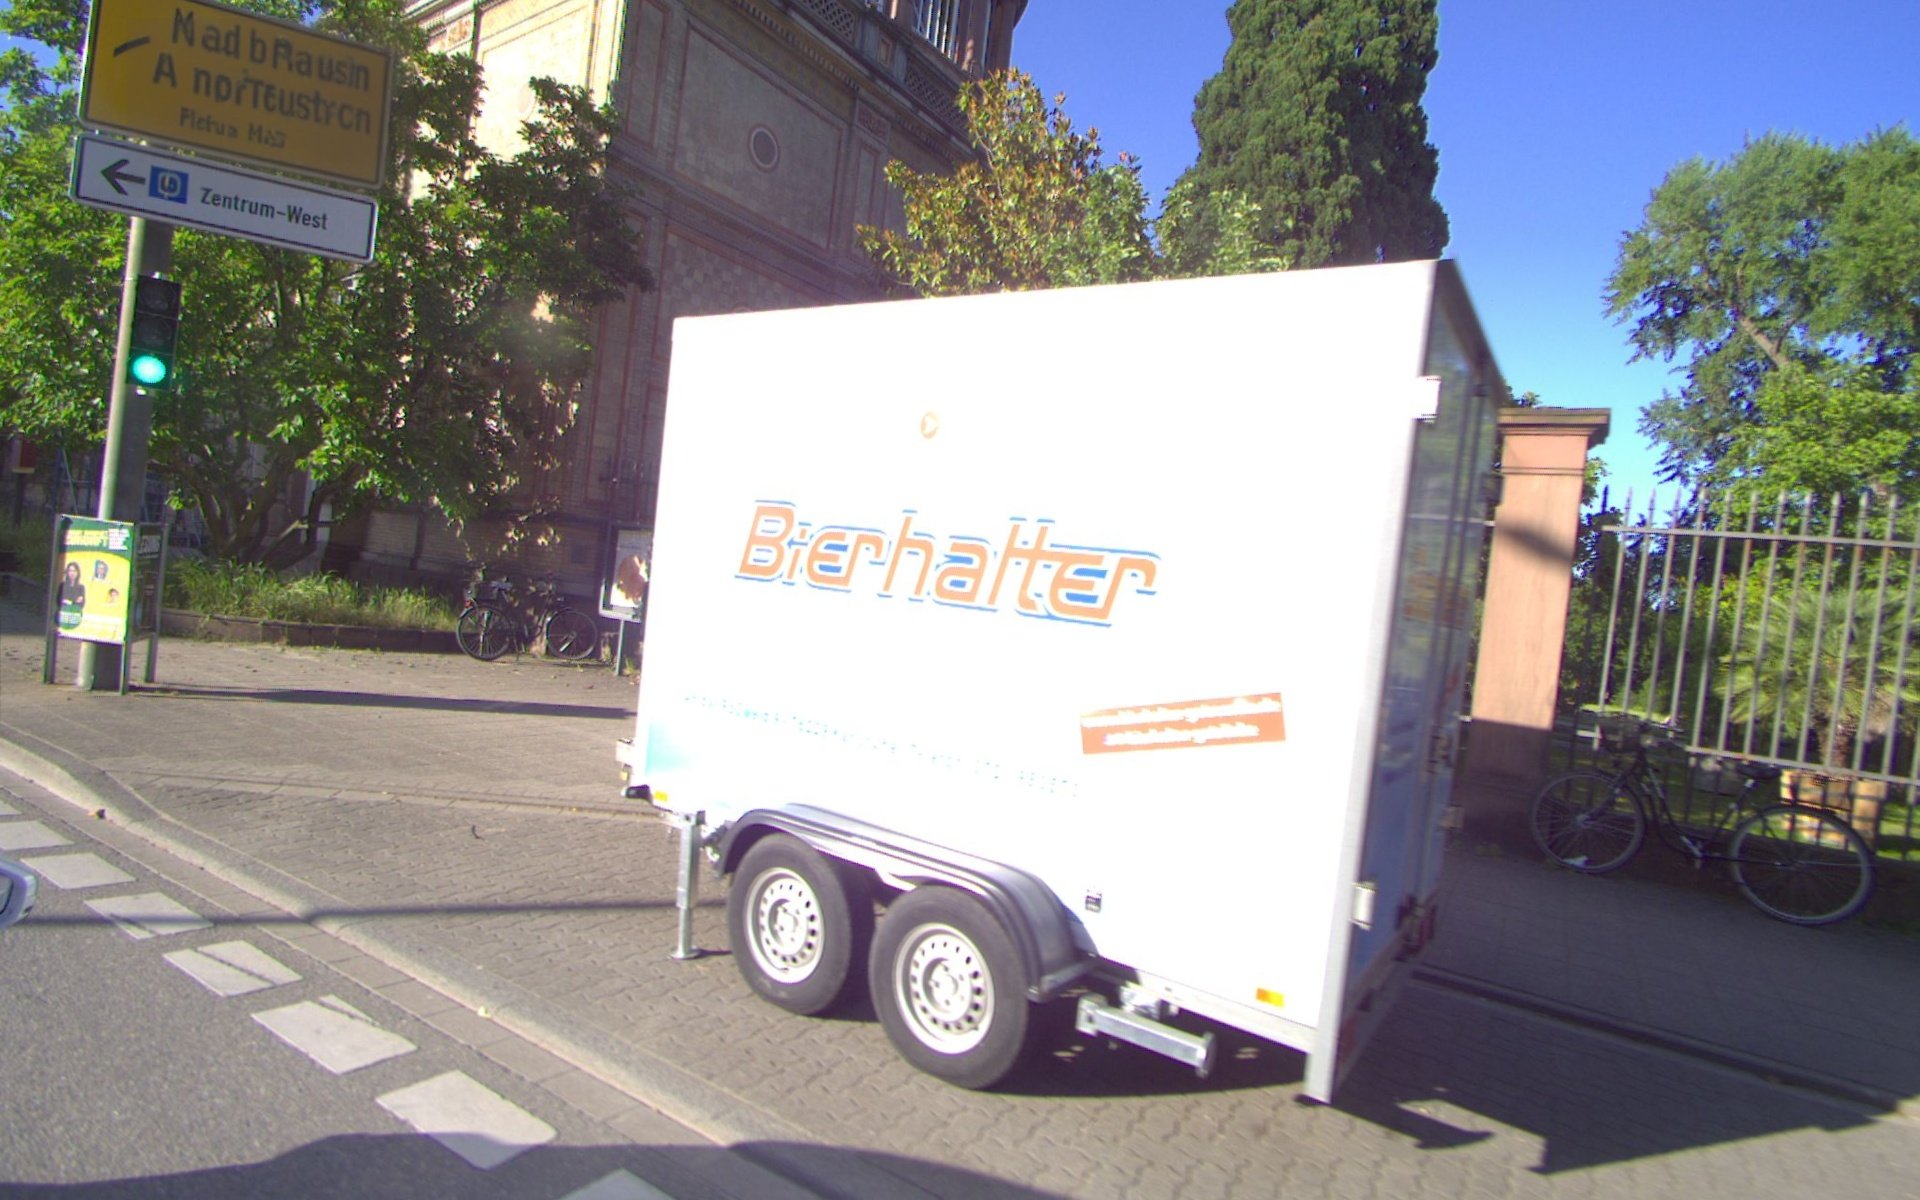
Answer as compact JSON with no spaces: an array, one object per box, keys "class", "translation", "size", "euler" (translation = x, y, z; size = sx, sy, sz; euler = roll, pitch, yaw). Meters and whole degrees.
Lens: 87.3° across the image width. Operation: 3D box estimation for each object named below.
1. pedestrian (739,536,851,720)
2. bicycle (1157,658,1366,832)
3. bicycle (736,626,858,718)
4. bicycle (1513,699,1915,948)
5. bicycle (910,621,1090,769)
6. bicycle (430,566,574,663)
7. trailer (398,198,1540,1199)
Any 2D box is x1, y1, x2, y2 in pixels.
[{"class":"pedestrian","translation":[-1.707,0.290,10.427],"size":[0.726,1.790,0.639],"euler":[7,1,34]},{"class":"bicycle","translation":[2.390,1.124,8.098],"size":[1.508,1.120,0.273],"euler":[7,3,37]},{"class":"bicycle","translation":[-1.798,0.770,10.967],"size":[1.427,0.803,0.264],"euler":[7,1,33]},{"class":"bicycle","translation":[4.672,1.341,6.404],"size":[1.896,1.144,0.395],"euler":[7,1,32]},{"class":"bicycle","translation":[0.343,0.852,9.413],"size":[1.654,1.120,0.398],"euler":[7,3,37]},{"class":"bicycle","translation":[-5.439,0.200,12.020],"size":[0.471,1.052,1.467],"euler":[7,1,32]},{"class":"trailer","translation":[-0.175,0.178,4.444],"size":[4.419,2.562,2.079],"euler":[7,2,33]}]
